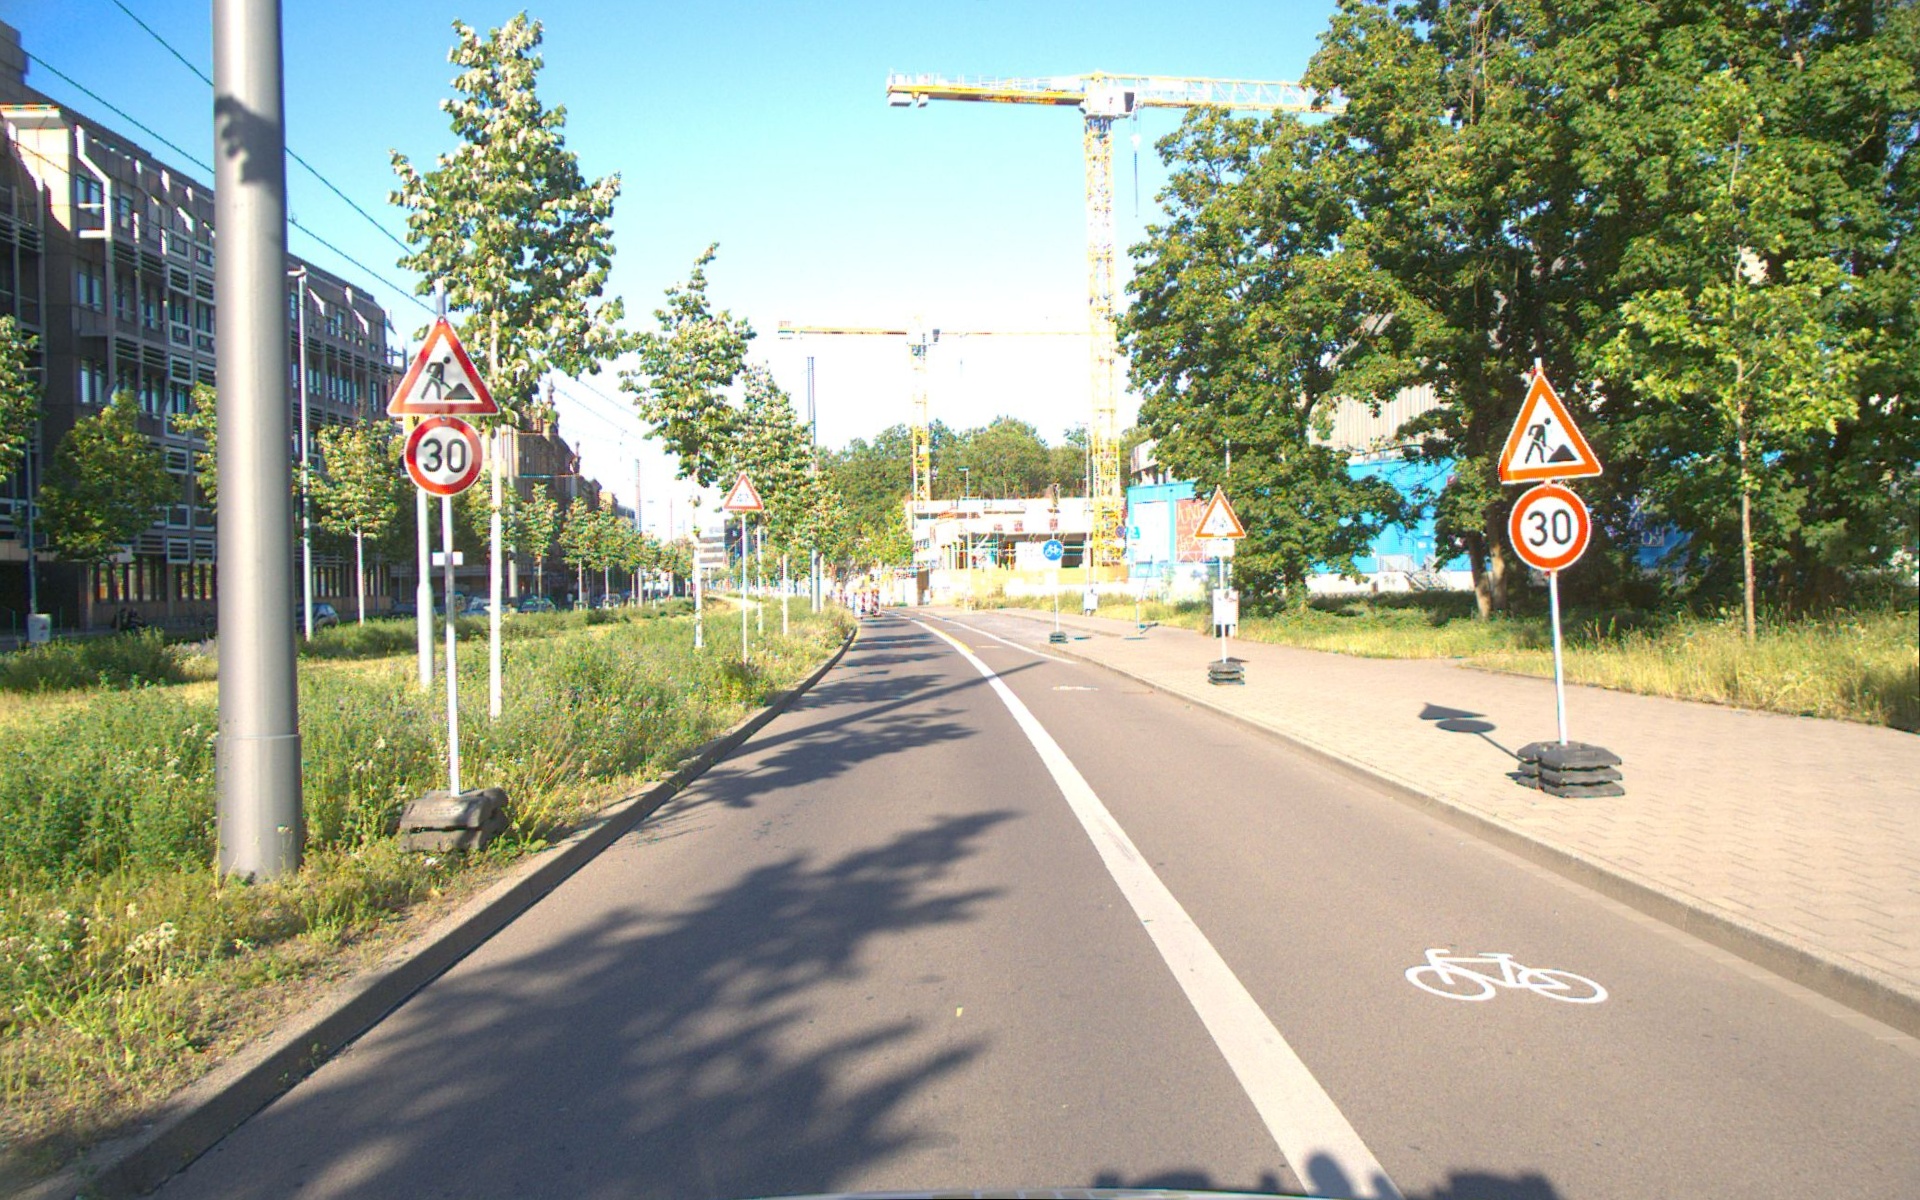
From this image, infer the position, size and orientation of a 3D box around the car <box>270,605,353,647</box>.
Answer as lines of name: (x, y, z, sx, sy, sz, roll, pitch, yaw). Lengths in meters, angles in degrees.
car: (-26.972, 1.036, 68.931, 1.865, 1.603, 4.299, -1, 0, -2)

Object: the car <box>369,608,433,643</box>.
car: (-28.080, 1.259, 83.187, 1.865, 1.603, 4.299, -1, 0, -2)

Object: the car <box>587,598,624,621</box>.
car: (-25.852, 0.684, 120.757, 1.865, 1.603, 4.299, -1, 0, -2)

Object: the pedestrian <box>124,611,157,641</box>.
pedestrian: (-33.782, 1.050, 68.155, 0.881, 1.189, 0.899, -1, 0, -1)

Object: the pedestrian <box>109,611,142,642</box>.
pedestrian: (-33.776, 1.075, 66.953, 0.882, 1.189, 0.865, -1, 0, -3)

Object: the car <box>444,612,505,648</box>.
car: (-23.332, 1.416, 79.562, 1.865, 1.603, 3.998, -1, 0, -3)
